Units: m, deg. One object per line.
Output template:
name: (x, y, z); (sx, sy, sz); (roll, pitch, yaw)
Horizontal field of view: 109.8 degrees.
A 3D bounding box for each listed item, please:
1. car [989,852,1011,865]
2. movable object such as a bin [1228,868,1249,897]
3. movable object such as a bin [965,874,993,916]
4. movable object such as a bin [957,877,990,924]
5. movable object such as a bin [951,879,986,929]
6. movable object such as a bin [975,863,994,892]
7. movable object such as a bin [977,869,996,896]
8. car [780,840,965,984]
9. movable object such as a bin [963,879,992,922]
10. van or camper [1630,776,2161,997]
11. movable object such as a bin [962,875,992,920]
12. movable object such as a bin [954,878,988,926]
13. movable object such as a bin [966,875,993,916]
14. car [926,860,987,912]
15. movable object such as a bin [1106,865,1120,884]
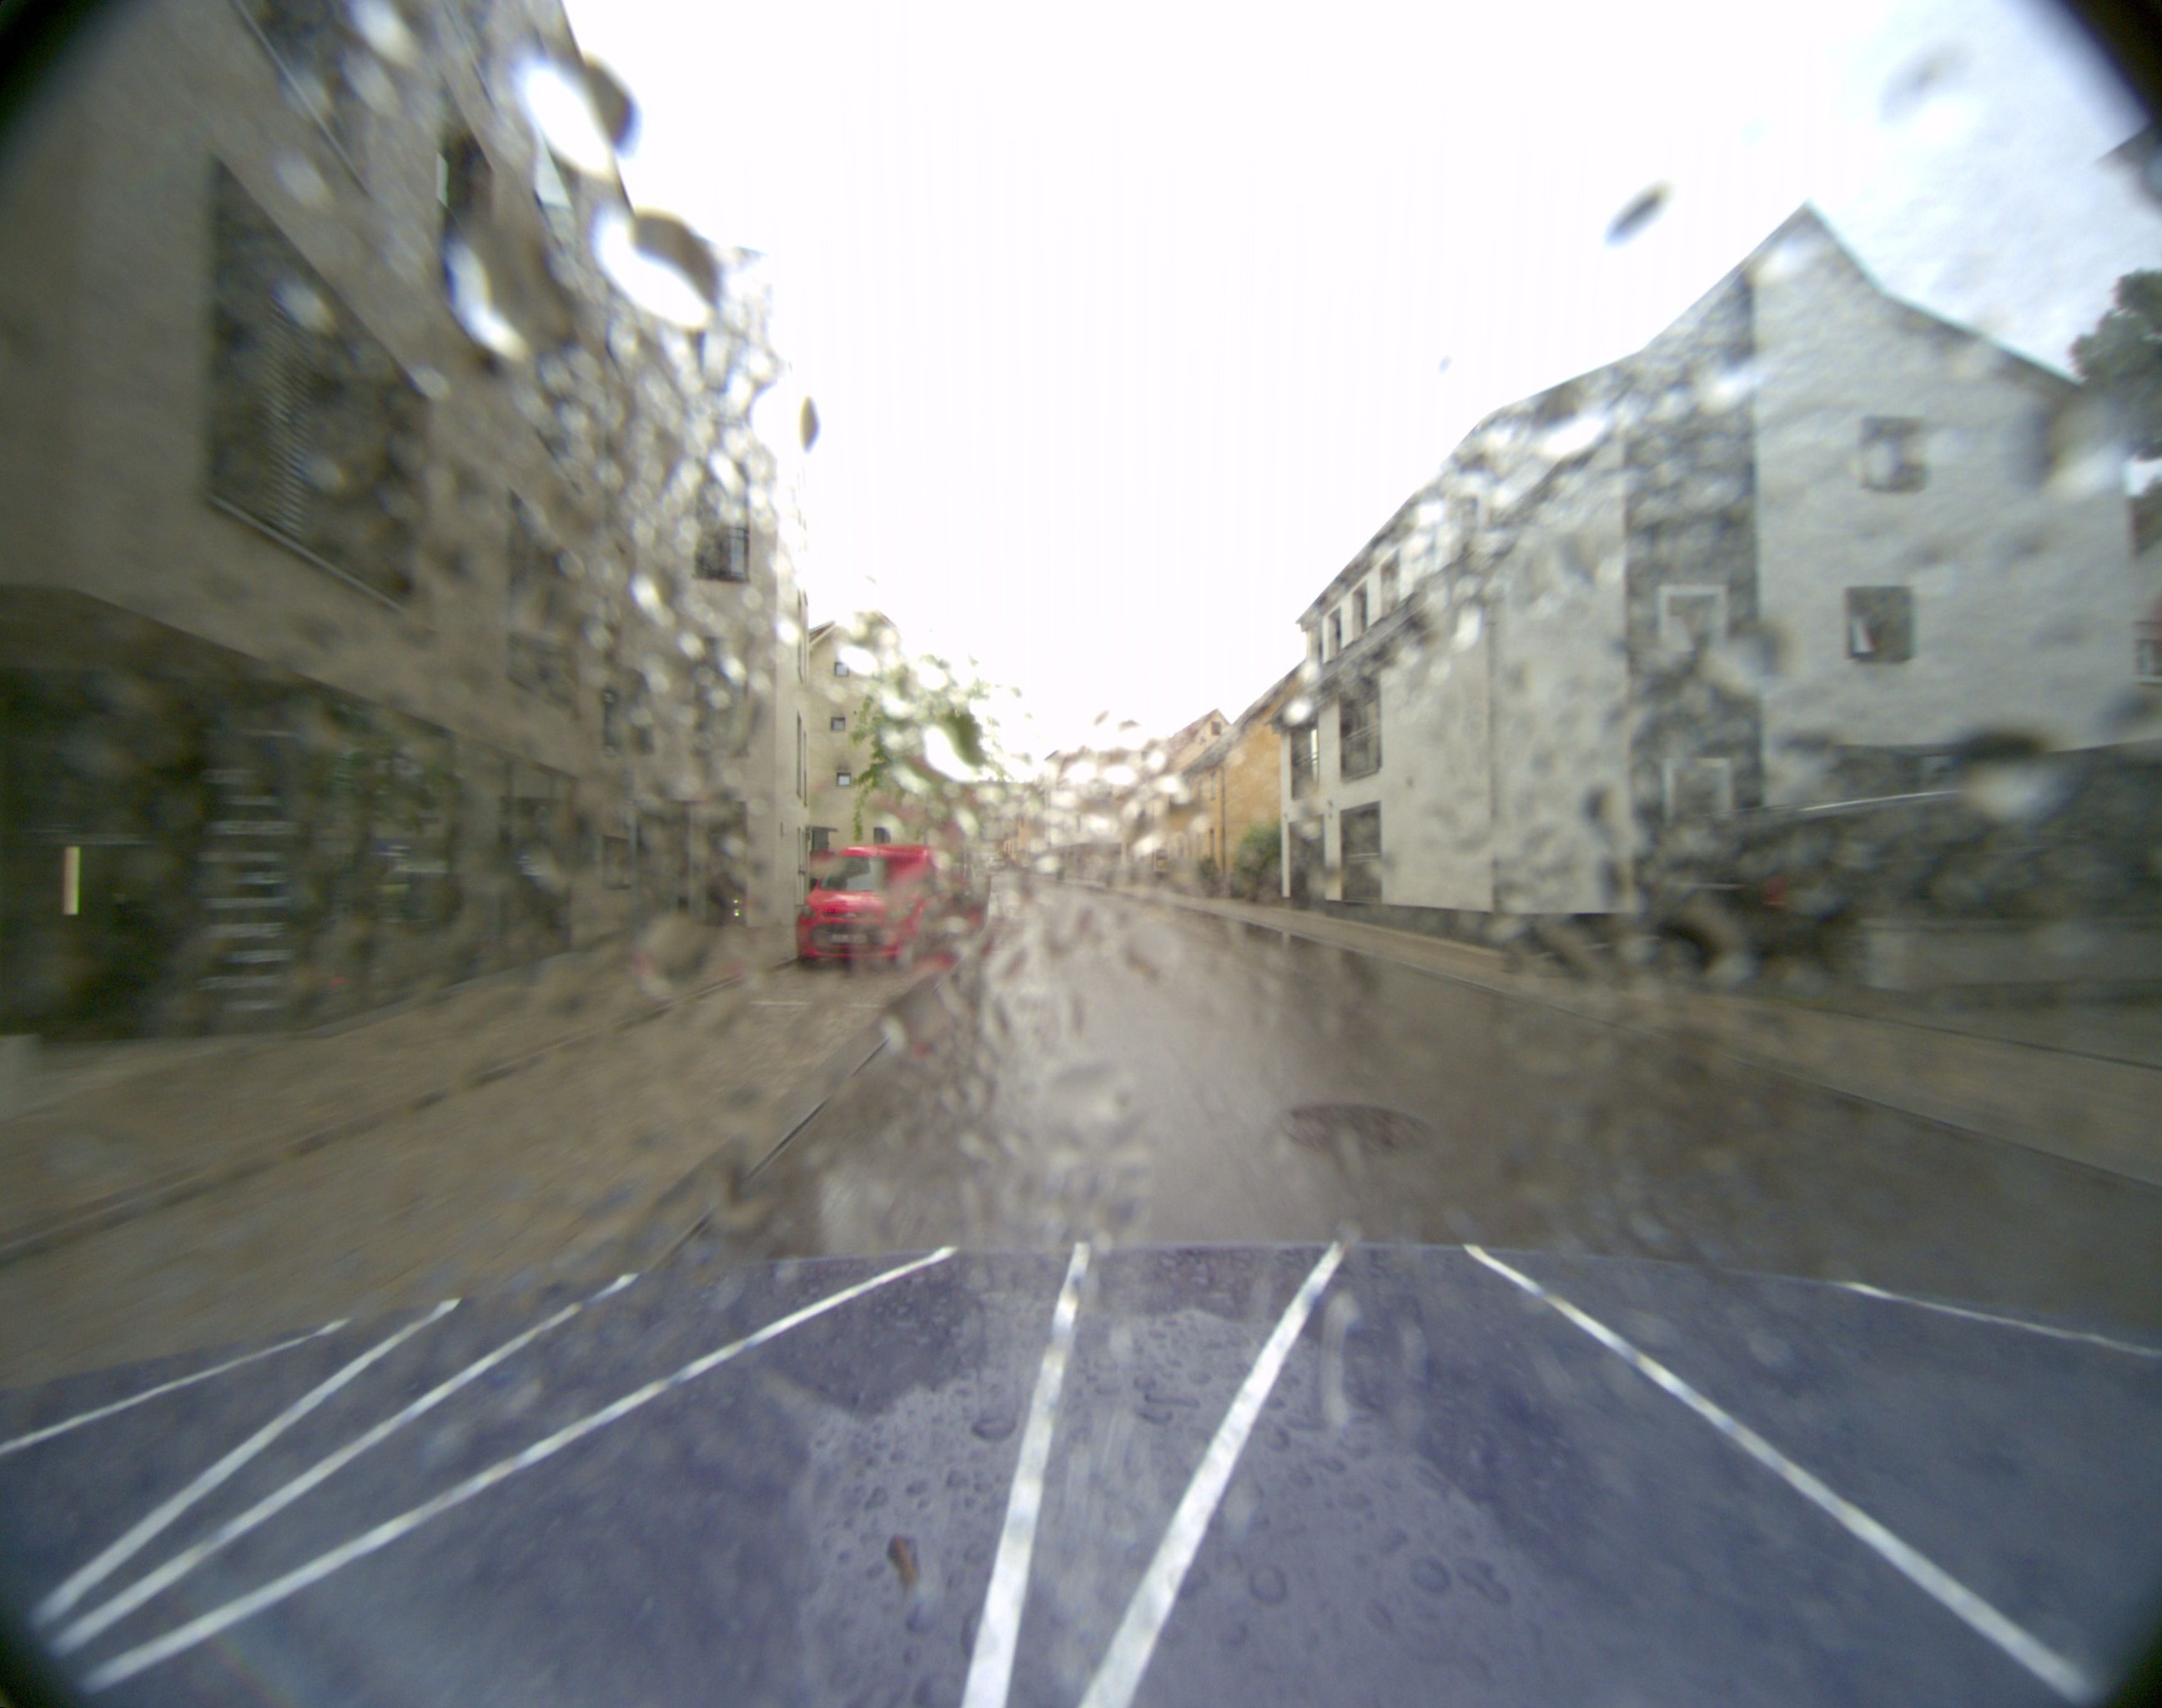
car: (-9.798, 0.486, 91.597); (2.001, 1.437, 3.994); (-1, 1, -16)
movable object such as a bin: (6.424, 1.162, 31.018); (0.659, 1.102, 0.721); (3, 1, 0)
movable object such as a bin: (-2.703, 1.075, 20.120); (0.711, 1.081, 0.601); (0, 0, -5)
movable object such as a bin: (-2.560, 1.093, 18.146); (0.711, 1.081, 0.601); (0, 0, -3)
movable object such as a bin: (-2.501, 1.099, 16.920); (0.711, 1.081, 0.601); (0, 0, -3)
movable object such as a bin: (-4.388, 1.048, 34.505); (0.798, 1.241, 1.242); (2, 1, -7)
movable object such as a bin: (-4.133, 1.255, 33.271); (0.763, 1.102, 0.809); (2, 1, -7)
car: (-3.140, 0.750, 12.472); (1.840, 1.896, 4.603); (1, 1, -1)
movable object such as a bin: (-2.656, 1.192, 19.551); (0.704, 1.081, 0.515); (0, 0, -5)
van or camper: (9.980, 0.319, 9.259); (5.037, 1.922, 1.999); (-6, 1, -2)
movable object such as a bin: (-2.601, 1.083, 18.977); (0.711, 1.081, 0.601); (0, 0, -5)
movable object such as a bin: (-2.530, 1.095, 17.545); (0.711, 1.081, 0.601); (0, 0, -3)
movable object such as a bin: (-2.761, 1.134, 20.735); (0.711, 1.081, 0.601); (0, 0, -5)
car: (-3.971, 0.978, 24.756); (1.642, 1.516, 3.632); (0, 1, -4)
movable object such as a bin: (1.851, 1.184, 44.149); (0.715, 1.053, 0.575); (-1, 1, -7)
